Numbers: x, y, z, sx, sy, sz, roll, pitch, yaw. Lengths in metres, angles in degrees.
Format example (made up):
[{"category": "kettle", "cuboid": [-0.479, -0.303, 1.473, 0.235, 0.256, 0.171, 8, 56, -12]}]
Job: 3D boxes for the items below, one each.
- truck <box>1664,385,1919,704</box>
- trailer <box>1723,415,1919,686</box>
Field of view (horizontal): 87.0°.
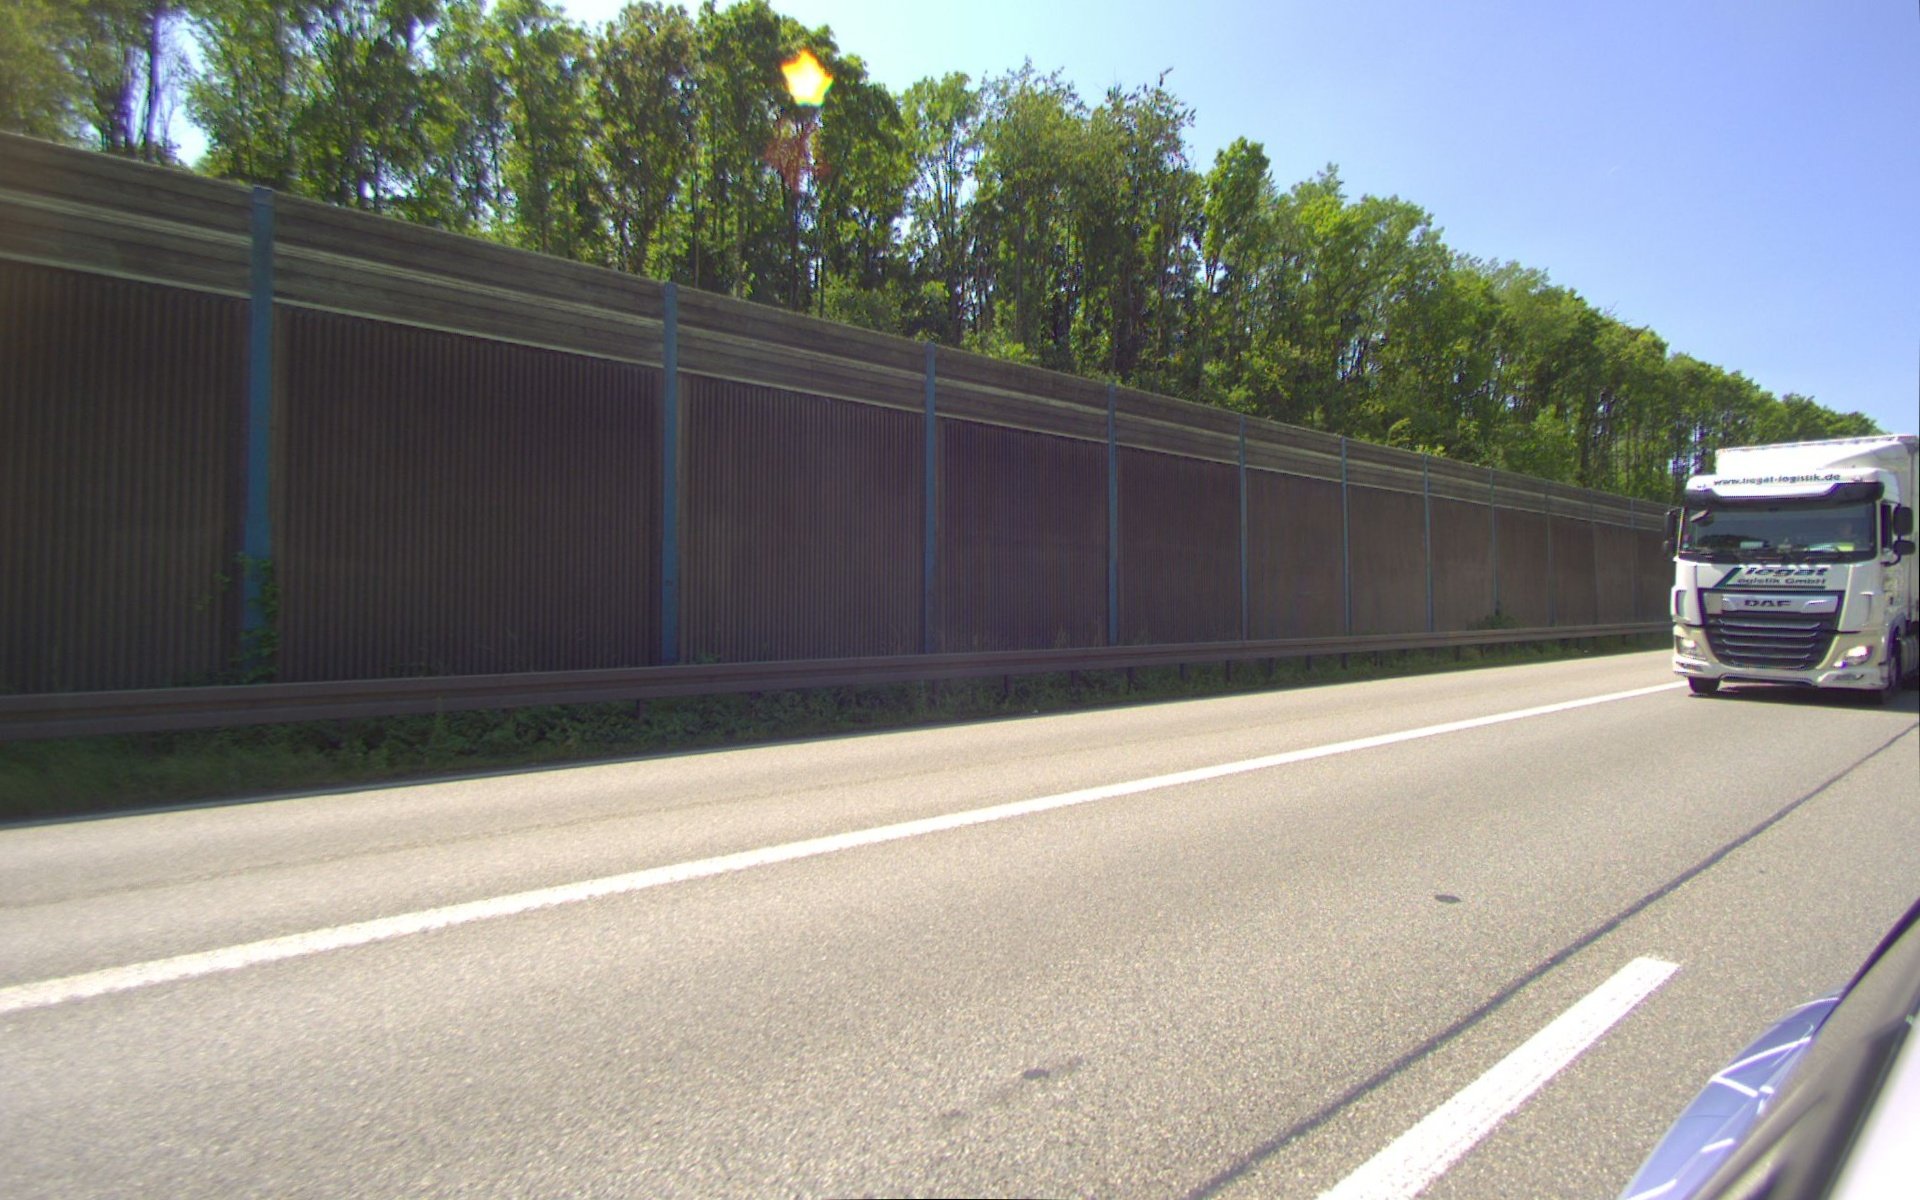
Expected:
[{"category": "truck", "cuboid": [13.961, -0.746, 16.464, 5.766, 4.258, 2.791, 0, 0, -41]}, {"category": "trailer", "cuboid": [19.267, -0.765, 21.015, 13.010, 4.258, 2.791, 0, 0, -41]}]
